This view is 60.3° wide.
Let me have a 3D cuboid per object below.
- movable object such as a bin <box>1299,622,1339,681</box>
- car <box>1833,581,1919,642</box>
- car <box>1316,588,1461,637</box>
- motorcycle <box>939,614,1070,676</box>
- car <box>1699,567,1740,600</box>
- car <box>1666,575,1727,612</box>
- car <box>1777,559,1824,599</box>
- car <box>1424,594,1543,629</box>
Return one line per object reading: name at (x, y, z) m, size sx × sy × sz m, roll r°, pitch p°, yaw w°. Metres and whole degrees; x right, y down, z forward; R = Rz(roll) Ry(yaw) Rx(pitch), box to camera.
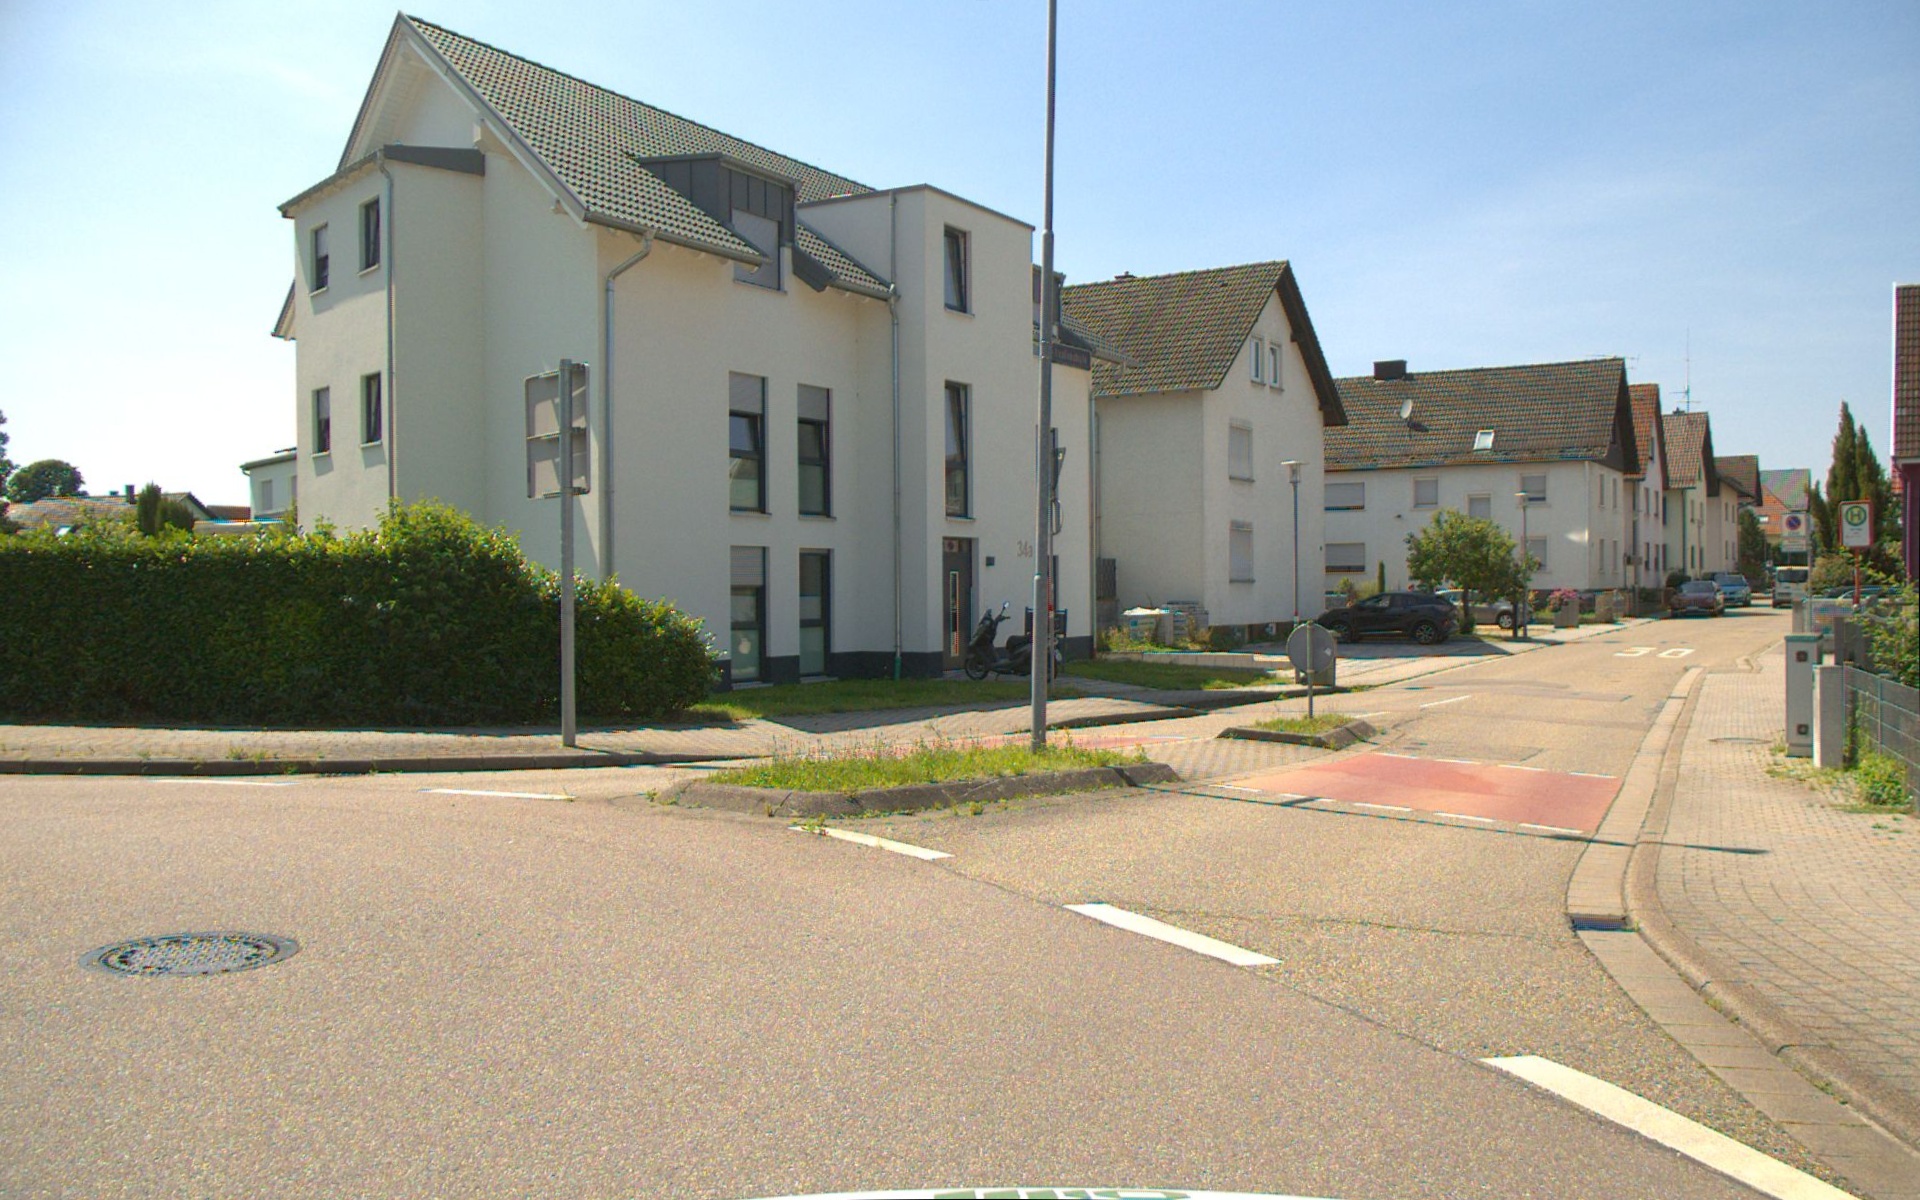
movable object such as a bin at (7.024, 0.999, 32.324) m, size 0.635 × 1.102 × 0.457 m, roll 0°, pitch 0°, yaw 38°
car at (24.964, 0.315, 44.332) m, size 2.693 × 1.626 × 1.169 m, roll 0°, pitch -1°, yaw 31°
car at (12.726, 0.364, 49.169) m, size 3.911 × 1.407 × 1.658 m, roll 0°, pitch 0°, yaw 28°
motorcycle at (0.777, 0.784, 29.185) m, size 2.320 × 1.031 × 0.669 m, roll 0°, pitch -1°, yaw 34°
car at (38.995, -0.844, 84.973) m, size 1.886 × 1.632 × 3.998 m, roll 0°, pitch 0°, yaw 25°
car at (32.126, -0.295, 72.112) m, size 1.957 × 1.580 × 3.991 m, roll 0°, pitch 1°, yaw 31°
car at (40.558, -0.986, 79.771) m, size 1.817 × 1.818 × 3.992 m, roll 0°, pitch -1°, yaw 30°
car at (19.112, 0.391, 60.422) m, size 3.911 × 1.211 × 1.838 m, roll 0°, pitch 1°, yaw 28°
